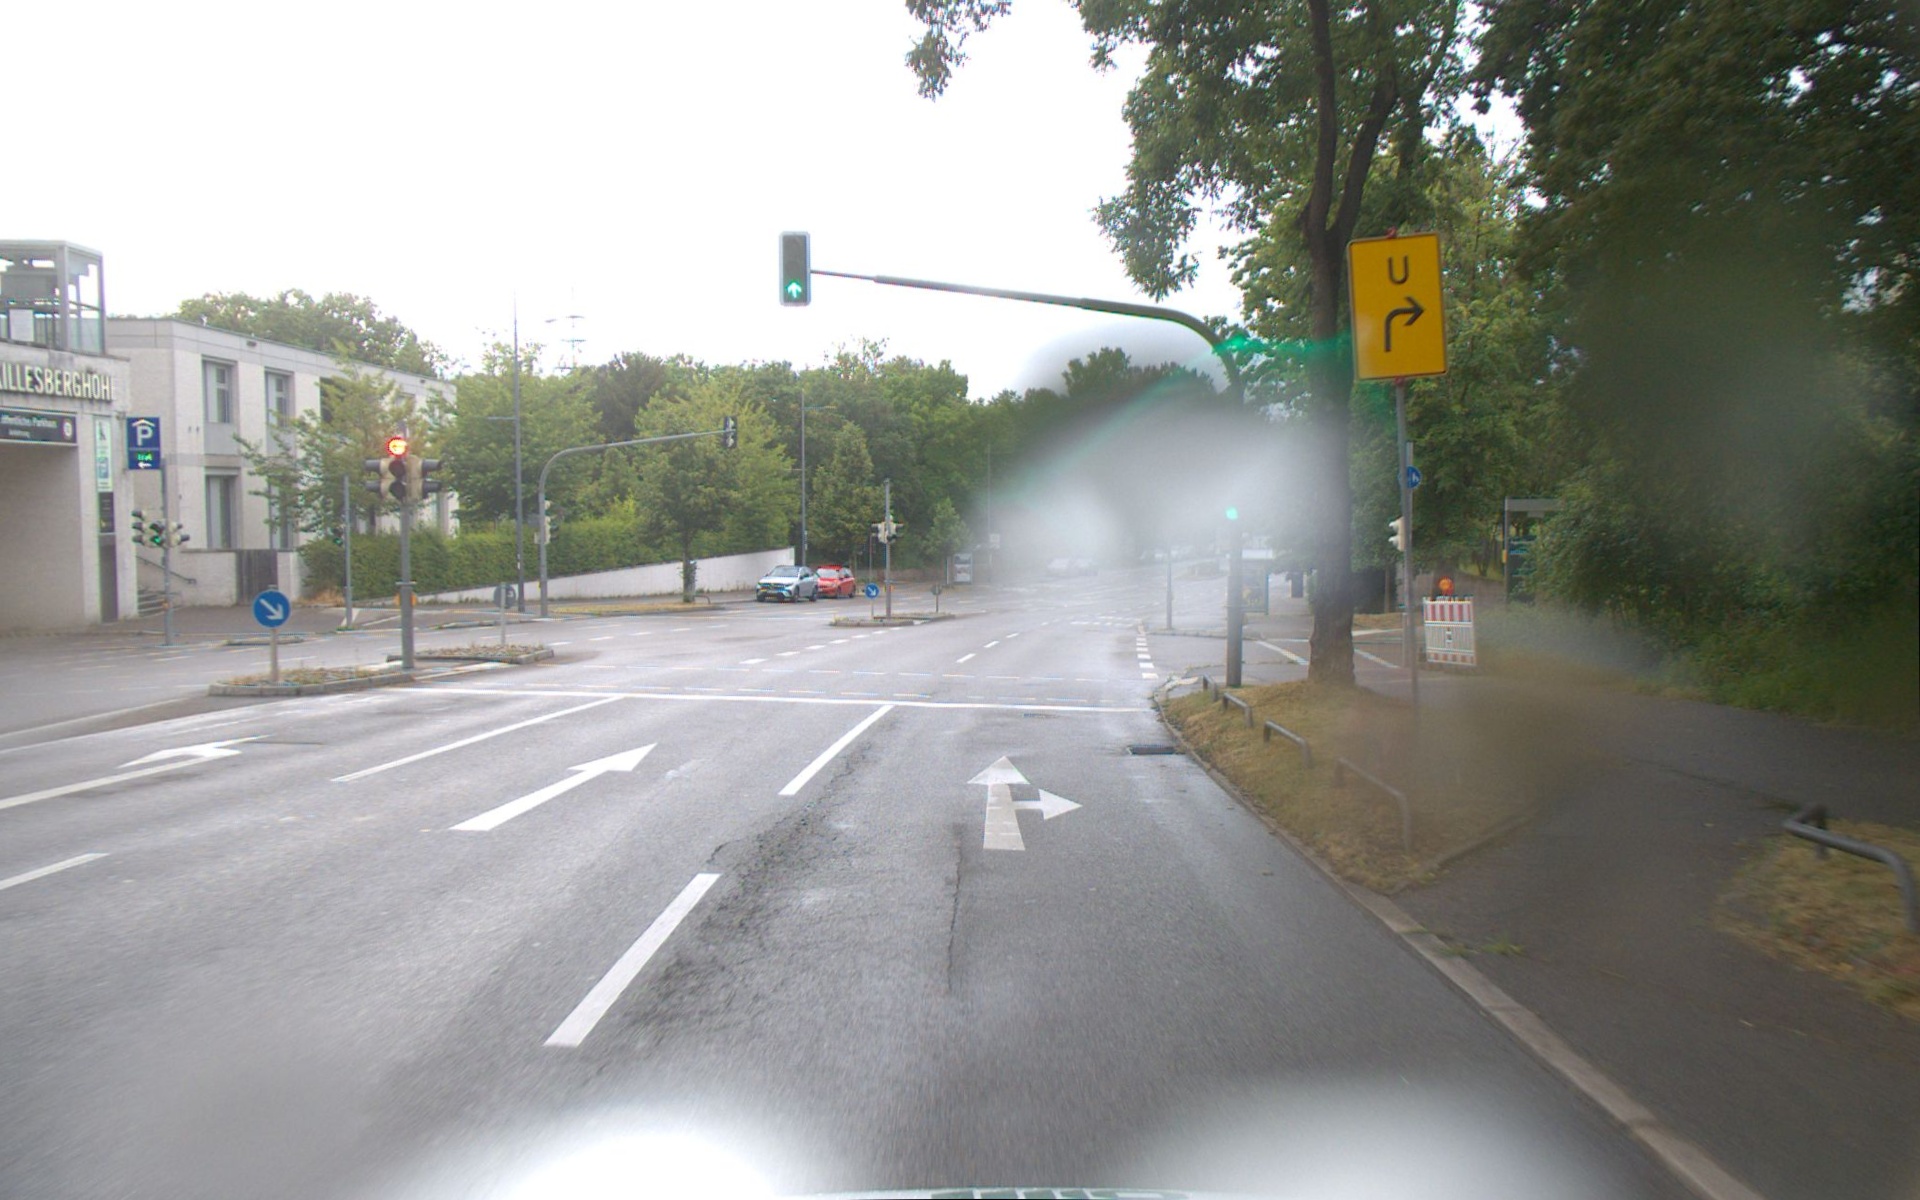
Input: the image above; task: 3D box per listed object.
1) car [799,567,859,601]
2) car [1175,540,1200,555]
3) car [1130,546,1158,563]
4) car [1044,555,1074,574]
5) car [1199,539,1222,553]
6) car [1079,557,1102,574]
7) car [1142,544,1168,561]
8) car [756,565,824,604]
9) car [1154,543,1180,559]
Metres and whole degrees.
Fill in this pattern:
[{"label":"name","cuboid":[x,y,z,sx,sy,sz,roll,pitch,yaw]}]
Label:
[{"label":"car","cuboid":[-6.657,-0.839,84.206,1.835,1.602,4.227,3,1,12]},{"label":"car","cuboid":[25.931,-5.982,188.241,1.916,1.511,4.002,3,5,20]},{"label":"car","cuboid":[19.031,-4.683,170.957,1.916,1.511,4.002,3,5,20]},{"label":"car","cuboid":[8.252,-2.942,137.359,1.677,1.486,3.753,1,1,16]},{"label":"car","cuboid":[30.277,-6.527,199.915,1.916,1.511,4.002,3,5,20]},{"label":"car","cuboid":[11.314,-2.998,143.091,1.386,1.449,3.124,1,1,15]},{"label":"car","cuboid":[20.731,-5.038,175.620,1.821,1.511,4.002,3,5,20]},{"label":"car","cuboid":[-7.930,-0.754,77.343,1.814,1.668,4.097,3,2,14]},{"label":"car","cuboid":[22.629,-5.391,180.331,1.916,1.511,4.002,3,5,20]}]
